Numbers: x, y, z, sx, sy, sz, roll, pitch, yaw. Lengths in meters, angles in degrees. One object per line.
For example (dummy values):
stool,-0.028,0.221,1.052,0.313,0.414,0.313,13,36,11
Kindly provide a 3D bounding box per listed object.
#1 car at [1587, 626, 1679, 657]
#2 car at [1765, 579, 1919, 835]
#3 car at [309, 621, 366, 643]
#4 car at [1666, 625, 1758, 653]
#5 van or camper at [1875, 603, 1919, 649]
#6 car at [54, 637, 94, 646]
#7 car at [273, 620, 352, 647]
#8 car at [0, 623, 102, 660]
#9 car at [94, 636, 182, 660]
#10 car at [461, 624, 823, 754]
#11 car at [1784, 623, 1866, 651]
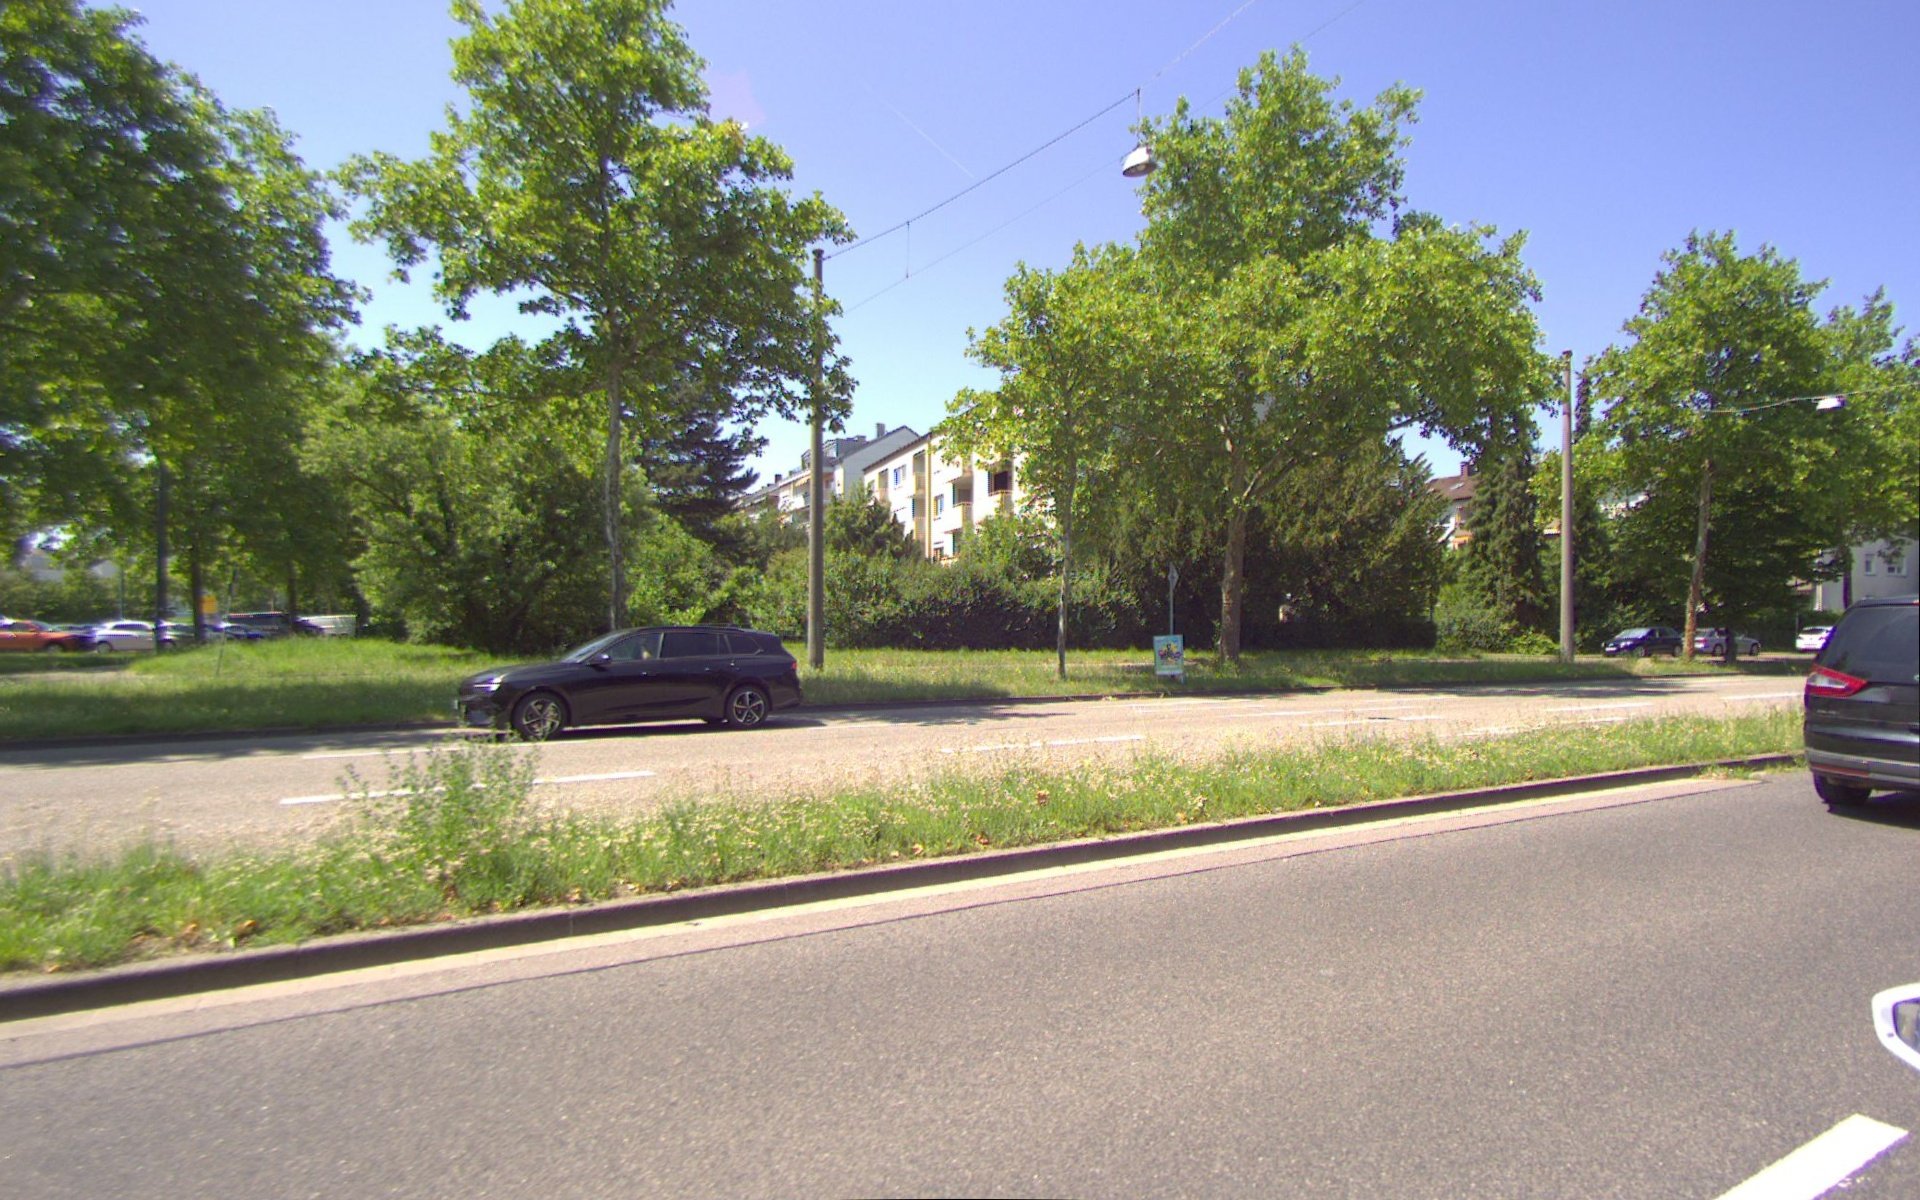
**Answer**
car,32.995,2.003,49.256,3.942,1.411,1.878,0,-1,-22
car,8.668,0.762,8.126,4.593,1.779,1.845,1,-1,-30
car,-42.661,2.170,68.901,3.011,1.509,1.474,0,-1,-14
car,38.309,1.971,51.184,3.939,1.394,1.879,0,-1,-20
van or camper,56.095,1.502,58.515,5.233,2.622,2.178,1,-1,-23
car,-68.887,3.239,78.106,2.268,0.652,0.768,1,-2,-36
car,-38.984,2.002,60.565,3.706,1.630,1.619,0,-1,-18
car,-38.003,1.688,41.162,4.069,1.415,1.454,1,0,-16
car,-39.869,2.298,48.782,3.004,1.099,1.383,0,-2,-20
car,-4.360,1.122,14.018,4.541,1.526,1.803,0,-2,-32
car,47.376,1.997,55.018,3.944,1.494,1.877,1,-1,-24
